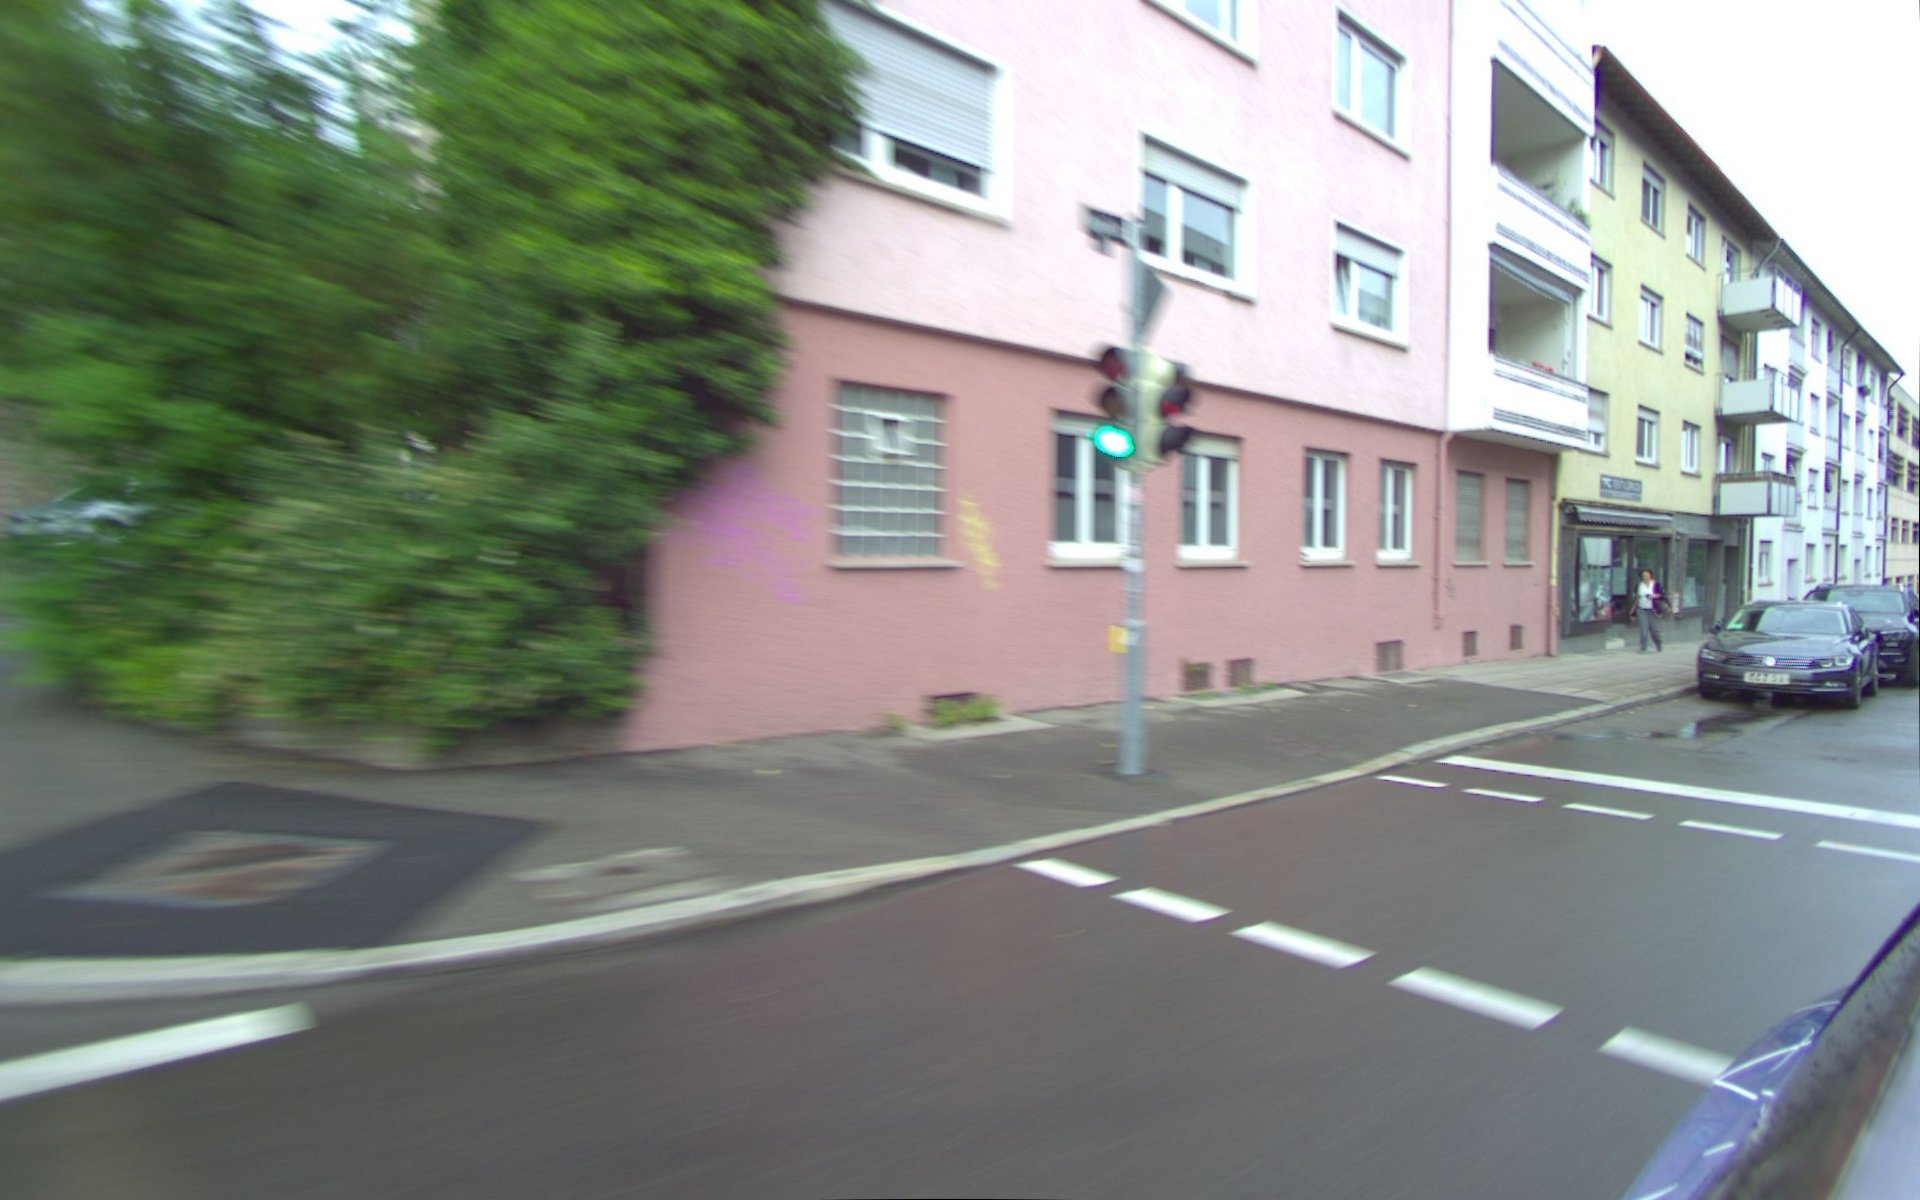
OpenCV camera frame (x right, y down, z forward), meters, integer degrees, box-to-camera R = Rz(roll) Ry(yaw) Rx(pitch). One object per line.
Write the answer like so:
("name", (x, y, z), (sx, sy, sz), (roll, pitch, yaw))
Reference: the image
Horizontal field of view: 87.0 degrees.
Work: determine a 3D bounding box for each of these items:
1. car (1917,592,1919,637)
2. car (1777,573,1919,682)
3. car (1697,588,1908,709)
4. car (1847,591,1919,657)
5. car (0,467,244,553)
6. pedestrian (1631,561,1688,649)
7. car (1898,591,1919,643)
("car", (32.285, 0.509, 32.674), (3.712, 1.428, 1.629), (0, 2, -41))
("car", (16.915, 0.430, 18.820), (4.434, 1.796, 1.966), (0, 1, -42))
("car", (12.815, 0.607, 15.289), (4.434, 1.538, 1.795), (0, 2, -42))
("car", (22.574, 0.534, 24.197), (3.424, 1.474, 1.629), (0, 1, -42))
("car", (-16.465, -1.795, 19.849), (1.652, 1.470, 4.343), (-1, 6, 1))
("pedestrian", (14.803, 0.089, 21.414), (0.735, 1.794, 0.715), (0, 4, -41))
("car", (28.812, 0.489, 29.642), (3.424, 1.474, 1.629), (0, 1, -42))
